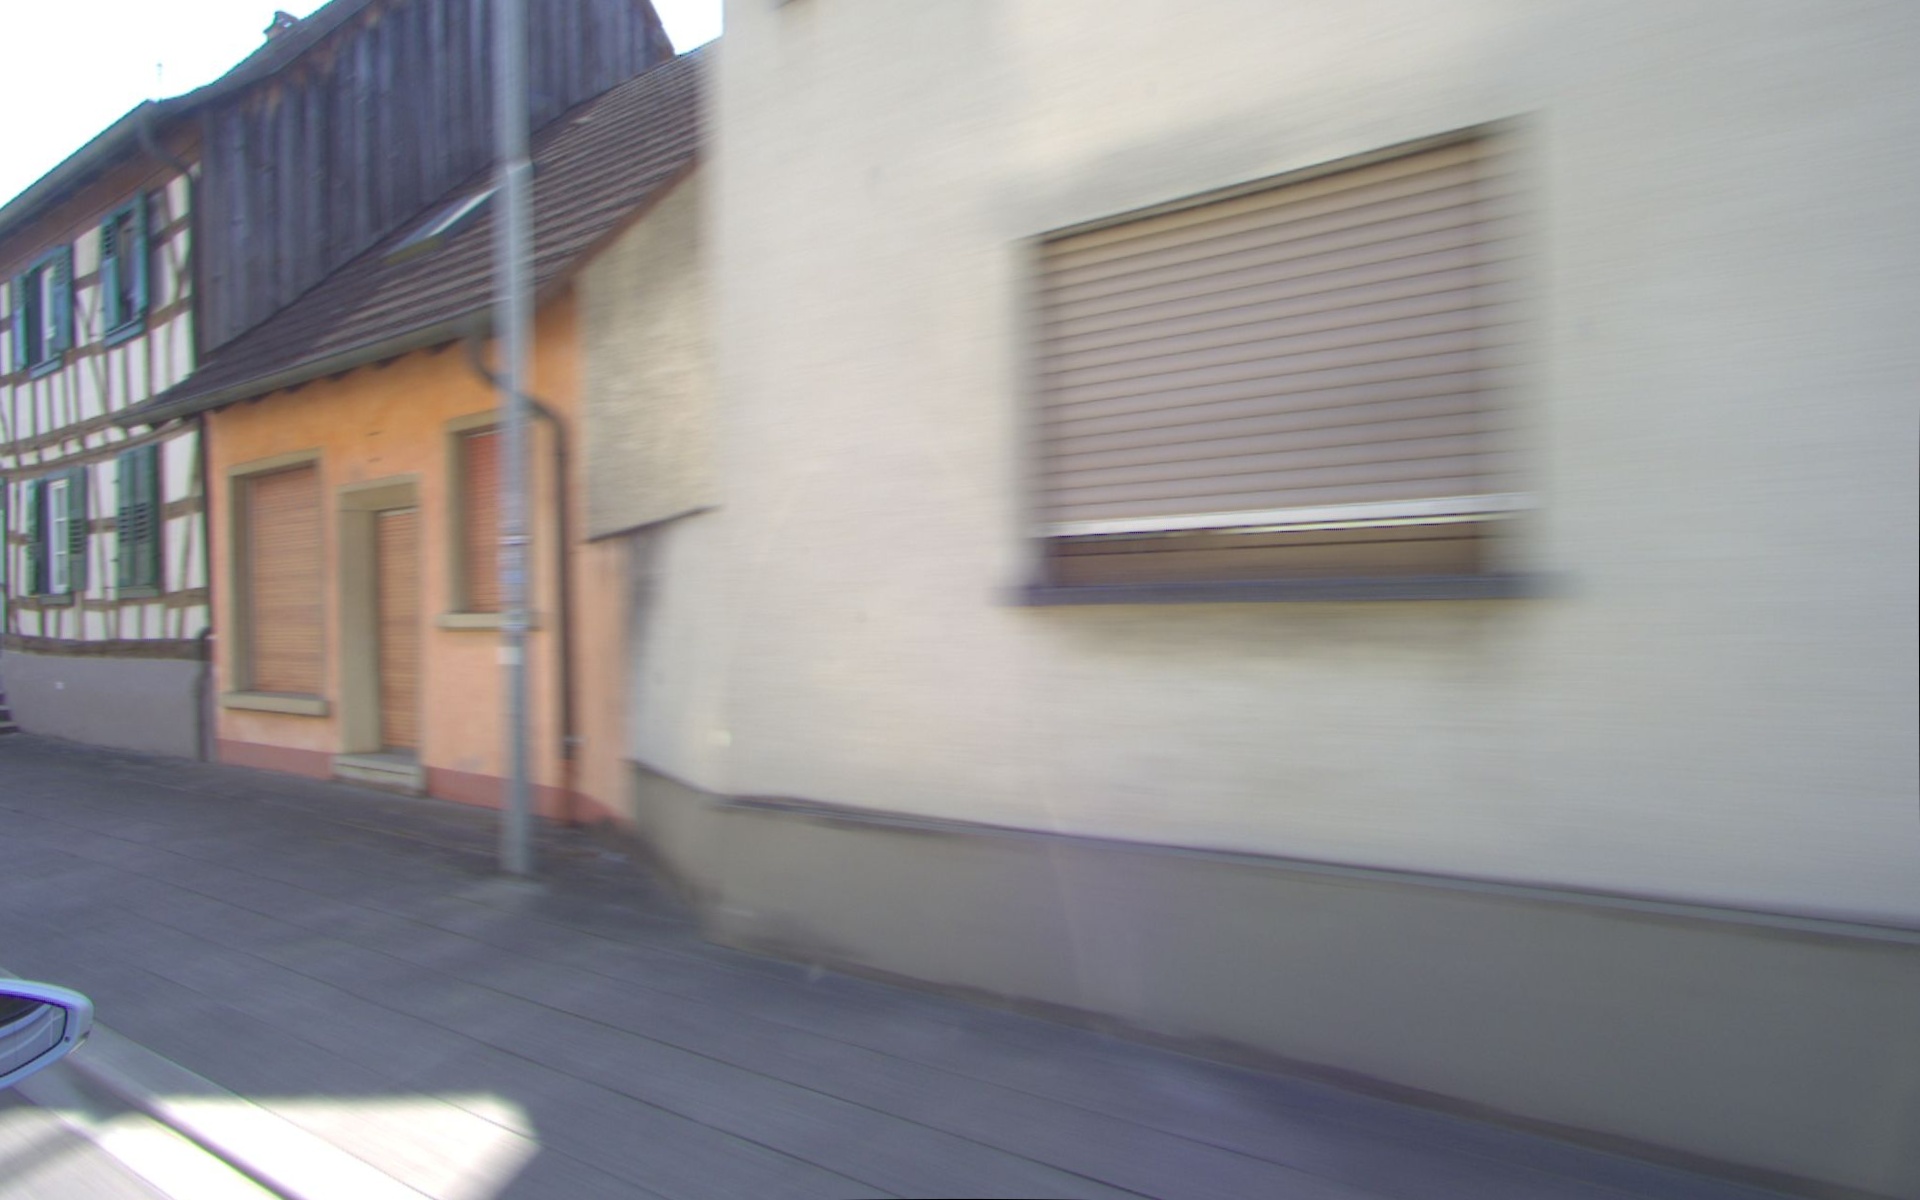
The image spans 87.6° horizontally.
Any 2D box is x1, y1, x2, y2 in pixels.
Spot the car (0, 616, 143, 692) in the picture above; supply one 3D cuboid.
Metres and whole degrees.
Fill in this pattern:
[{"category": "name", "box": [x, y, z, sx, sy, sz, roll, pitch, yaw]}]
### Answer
[{"category": "car", "box": [-19.525, 1.085, 20.436, 1.970, 1.461, 3.982, -1, 0, 29]}]
